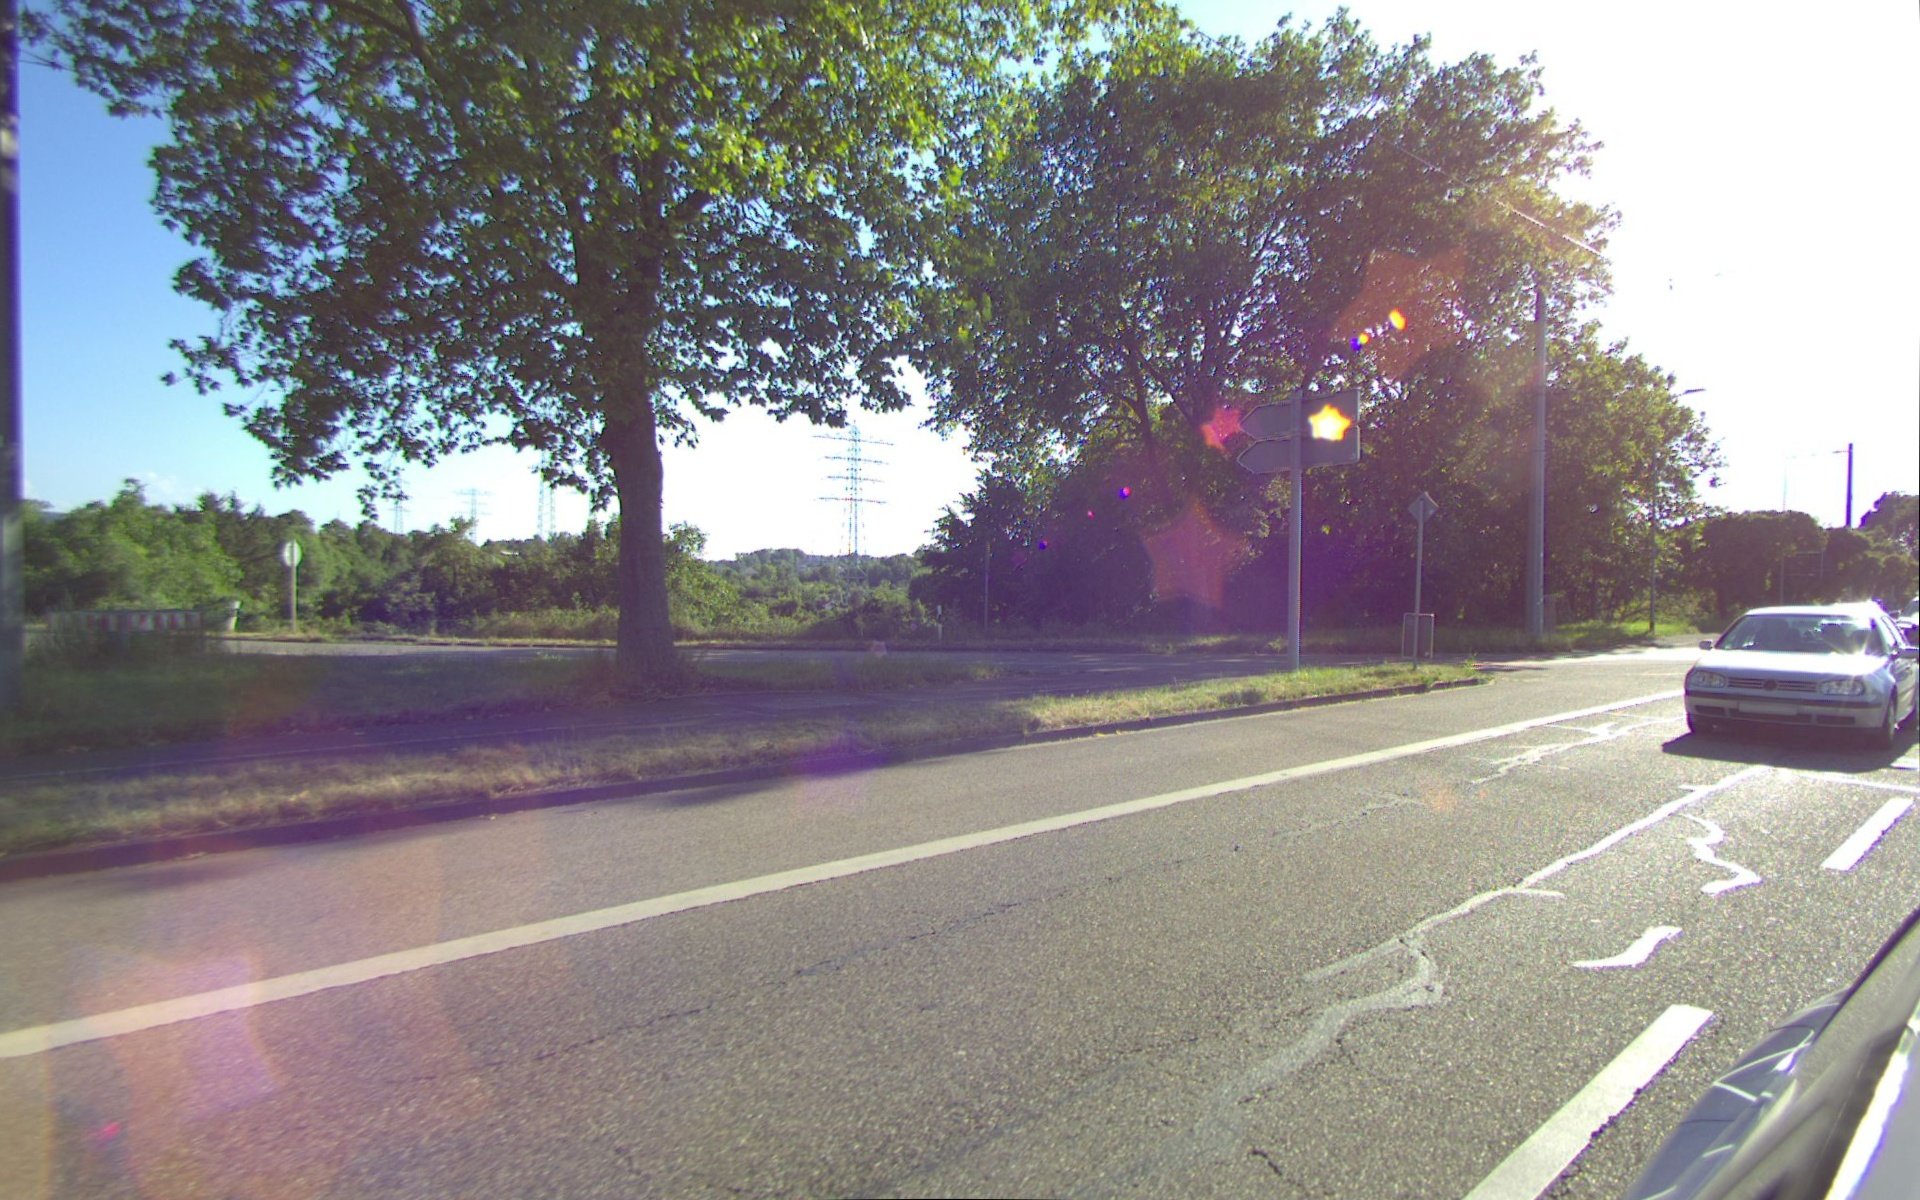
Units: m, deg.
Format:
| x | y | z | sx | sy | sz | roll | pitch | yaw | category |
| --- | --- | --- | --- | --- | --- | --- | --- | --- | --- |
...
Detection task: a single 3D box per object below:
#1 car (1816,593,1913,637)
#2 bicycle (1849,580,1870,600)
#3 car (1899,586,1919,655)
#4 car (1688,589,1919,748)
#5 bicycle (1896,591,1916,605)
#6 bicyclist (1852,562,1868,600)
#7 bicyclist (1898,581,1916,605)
| x | y | z | sx | sy | sz | roll | pitch | yaw | category |
| --- | --- | --- | --- | --- | --- | --- | --- | --- | --- |
| 32.990 | 0.512 | 36.869 | 4.575 | 1.461 | 1.881 | -1 | 1 | -39 | car |
| 48.132 | -0.522 | 54.150 | 1.936 | 1.074 | 0.528 | 1 | -1 | -40 | bicycle |
| 24.743 | 0.476 | 24.878 | 4.338 | 1.620 | 1.881 | -1 | 1 | -39 | car |
| 9.841 | 0.629 | 11.449 | 3.930 | 1.463 | 1.694 | -1 | 1 | -40 | car |
| 59.763 | -0.126 | 63.920 | 1.605 | 0.844 | 0.629 | -1 | 5 | -39 | bicycle |
| 48.286 | -1.008 | 54.292 | 0.716 | 2.043 | 0.528 | 0 | -1 | -39 | bicyclist |
| 59.806 | -0.448 | 63.907 | 1.041 | 1.488 | 0.629 | 0 | 5 | -39 | bicyclist |
